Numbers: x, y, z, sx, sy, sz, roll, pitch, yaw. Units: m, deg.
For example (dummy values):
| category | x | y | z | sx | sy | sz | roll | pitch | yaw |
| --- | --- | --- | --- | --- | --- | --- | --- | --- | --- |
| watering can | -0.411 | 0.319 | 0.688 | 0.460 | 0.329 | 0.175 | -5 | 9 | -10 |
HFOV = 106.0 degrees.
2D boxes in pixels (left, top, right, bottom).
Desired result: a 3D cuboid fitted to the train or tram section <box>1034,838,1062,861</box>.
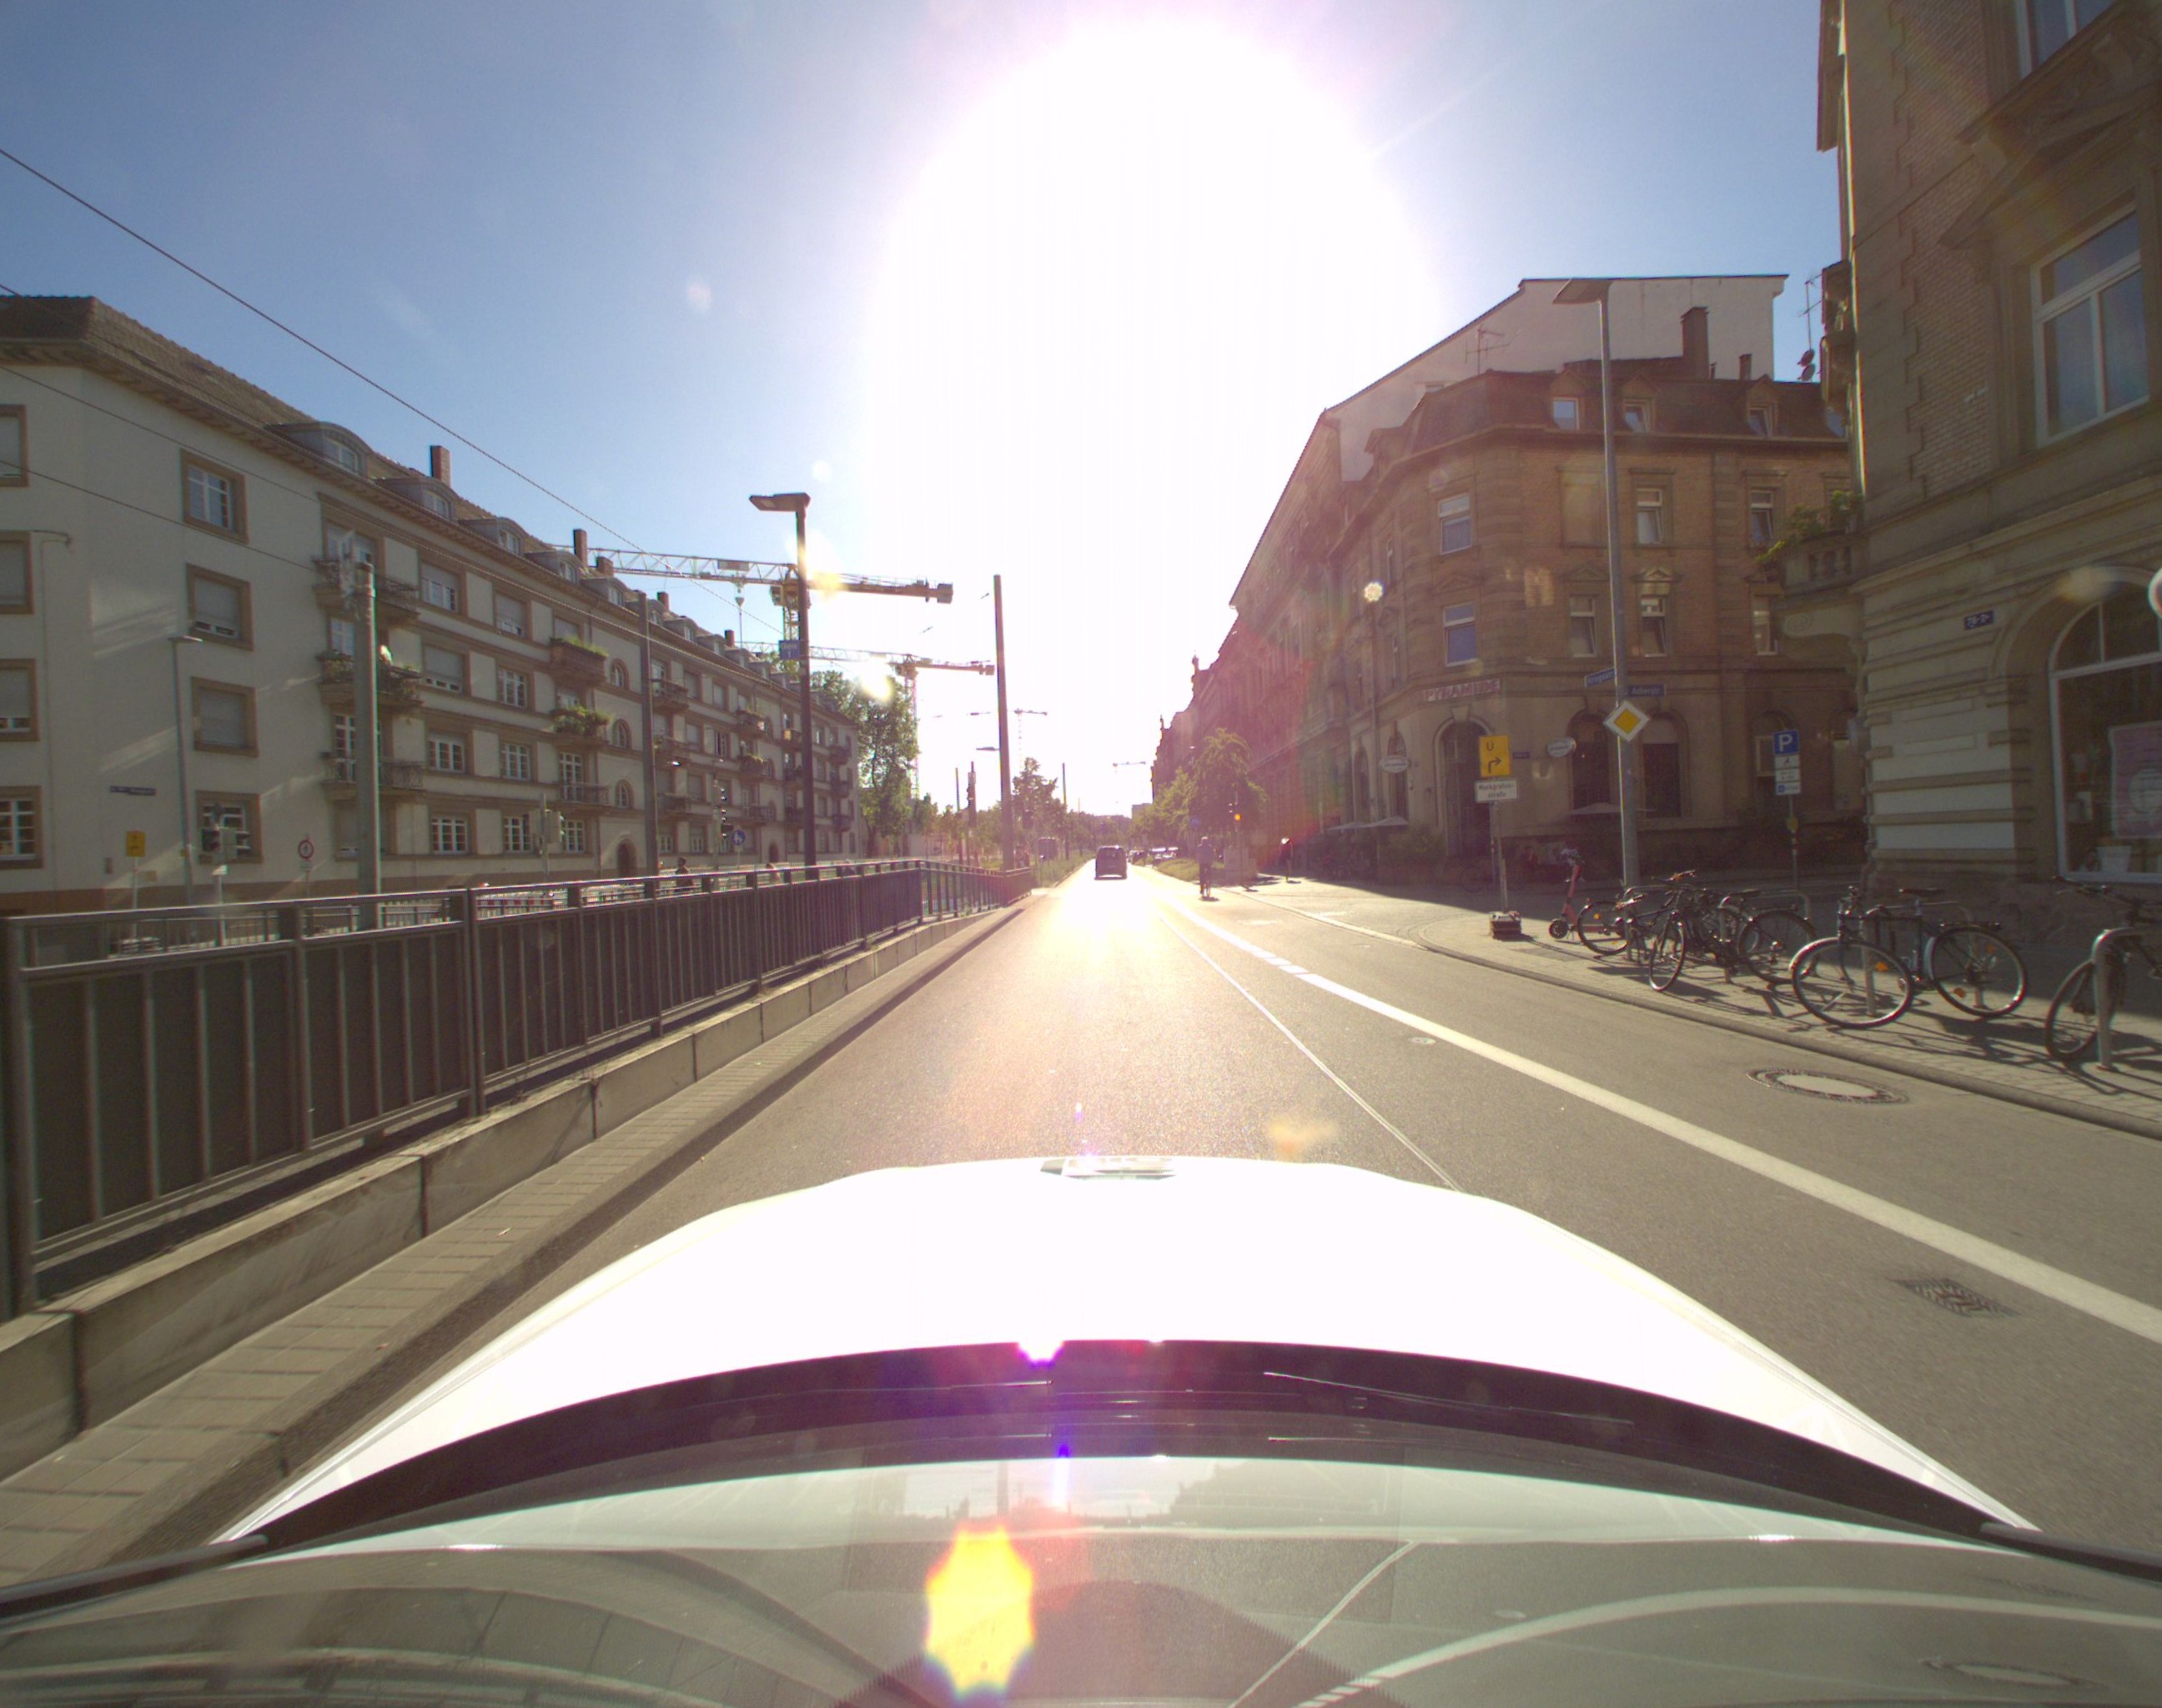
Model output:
| category | x | y | z | sx | sy | sz | roll | pitch | yaw |
| --- | --- | --- | --- | --- | --- | --- | --- | --- | --- |
| train or tram section | -4.230 | -0.546 | 106.428 | 2.745 | 2.742 | 9.871 | -1 | 0 | 3 |

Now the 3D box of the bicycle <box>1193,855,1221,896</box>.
| category | x | y | z | sx | sy | sz | roll | pitch | yaw |
| --- | --- | --- | --- | --- | --- | --- | --- | --- | --- |
| bicycle | 3.871 | 0.642 | 25.138 | 0.599 | 1.181 | 1.869 | -1 | 0 | 1 |

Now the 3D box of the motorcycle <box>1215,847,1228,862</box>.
| category | x | y | z | sx | sy | sz | roll | pitch | yaw |
| --- | --- | --- | --- | --- | --- | --- | --- | --- | --- |
| motorcycle | 11.838 | 0.031 | 68.632 | 0.697 | 1.267 | 1.982 | -3 | 0 | 1 |

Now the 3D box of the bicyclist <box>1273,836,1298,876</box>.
| category | x | y | z | sx | sy | sz | roll | pitch | yaw |
| --- | --- | --- | --- | --- | --- | --- | --- | --- | --- |
| bicyclist | 8.115 | 0.075 | 32.326 | 0.657 | 1.530 | 0.802 | -7 | 0 | 4 |

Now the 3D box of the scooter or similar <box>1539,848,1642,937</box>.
| category | x | y | z | sx | sy | sz | roll | pitch | yaw |
| --- | --- | --- | --- | --- | --- | --- | --- | --- | --- |
| scooter or similar | 7.210 | 0.541 | 11.551 | 1.105 | 1.189 | 0.420 | -3 | 0 | 8 |

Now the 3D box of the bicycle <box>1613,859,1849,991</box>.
| category | x | y | z | sx | sy | sz | roll | pitch | yaw |
| --- | --- | --- | --- | --- | --- | --- | --- | --- | --- |
| bicycle | 6.341 | 0.679 | 8.007 | 1.715 | 1.100 | 0.607 | -5 | 0 | 4 |

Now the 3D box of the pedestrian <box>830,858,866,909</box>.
| category | x | y | z | sx | sy | sz | roll | pitch | yaw |
| --- | --- | --- | --- | --- | --- | --- | --- | --- | --- |
| pedestrian | -7.274 | 0.902 | 25.436 | 0.809 | 1.536 | 0.798 | -2 | 0 | 3 |

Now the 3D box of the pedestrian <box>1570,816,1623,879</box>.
| category | x | y | z | sx | sy | sz | roll | pitch | yaw |
| --- | --- | --- | --- | --- | --- | --- | --- | --- | --- |
| pedestrian | 14.887 | -0.197 | 23.533 | 0.905 | 1.760 | 0.866 | -2 | 0 | -6 |

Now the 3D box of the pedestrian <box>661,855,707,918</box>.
| category | x | y | z | sx | sy | sz | roll | pitch | yaw |
| --- | --- | --- | --- | --- | --- | --- | --- | --- | --- |
| pedestrian | -11.576 | 0.941 | 23.759 | 0.897 | 1.780 | 0.873 | -2 | 0 | 38 |

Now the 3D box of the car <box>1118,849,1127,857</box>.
| category | x | y | z | sx | sy | sz | roll | pitch | yaw |
| --- | --- | --- | --- | --- | --- | --- | --- | --- | --- |
| car | 9.855 | -0.307 | 193.141 | 1.986 | 1.838 | 4.001 | -1 | 0 | 1 |

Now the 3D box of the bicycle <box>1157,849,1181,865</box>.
| category | x | y | z | sx | sy | sz | roll | pitch | yaw |
| --- | --- | --- | --- | --- | --- | --- | --- | --- | --- |
| bicycle | 6.924 | 0.260 | 64.082 | 1.786 | 1.030 | 0.527 | -7 | 0 | 1 |

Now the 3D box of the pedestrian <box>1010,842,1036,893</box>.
| category | x | y | z | sx | sy | sz | roll | pitch | yaw |
| --- | --- | --- | --- | --- | --- | --- | --- | --- | --- |
| pedestrian | -2.077 | 0.477 | 29.145 | 0.863 | 1.788 | 0.969 | -2 | 0 | -5 |

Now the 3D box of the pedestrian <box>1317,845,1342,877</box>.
| category | x | y | z | sx | sy | sz | roll | pitch | yaw |
| --- | --- | --- | --- | --- | --- | --- | --- | --- | --- |
| pedestrian | 9.598 | 0.278 | 31.432 | 0.703 | 1.178 | 0.635 | -4 | 0 | 1 |

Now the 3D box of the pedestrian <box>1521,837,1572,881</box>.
| category | x | y | z | sx | sy | sz | roll | pitch | yaw |
| --- | --- | --- | --- | --- | --- | --- | --- | --- | --- |
| pedestrian | 13.321 | 0.147 | 23.329 | 0.848 | 1.214 | 0.932 | -2 | 0 | -6 |

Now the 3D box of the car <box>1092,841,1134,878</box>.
| category | x | y | z | sx | sy | sz | roll | pitch | yaw |
| --- | --- | --- | --- | --- | --- | --- | --- | --- | --- |
| car | 1.792 | 0.294 | 46.969 | 2.192 | 1.926 | 4.655 | -3 | 0 | 1 |

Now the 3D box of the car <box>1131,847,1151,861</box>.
| category | x | y | z | sx | sy | sz | roll | pitch | yaw |
| --- | --- | --- | --- | --- | --- | --- | --- | --- | --- |
| car | 6.746 | -0.028 | 91.902 | 2.021 | 1.499 | 4.655 | -3 | 0 | 1 |

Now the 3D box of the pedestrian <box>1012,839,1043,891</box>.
| category | x | y | z | sx | sy | sz | roll | pitch | yaw |
| --- | --- | --- | --- | --- | --- | --- | --- | --- | --- |
| pedestrian | -2.035 | 0.396 | 30.946 | 1.074 | 1.908 | 0.652 | -3 | 0 | -6 |

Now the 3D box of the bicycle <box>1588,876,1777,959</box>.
| category | x | y | z | sx | sy | sz | roll | pitch | yaw |
| --- | --- | --- | --- | --- | --- | --- | --- | --- | --- |
| bicycle | 6.957 | 0.731 | 9.478 | 1.661 | 0.821 | 0.608 | -4 | 0 | 7 |

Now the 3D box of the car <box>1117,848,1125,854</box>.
| category | x | y | z | sx | sy | sz | roll | pitch | yaw |
| --- | --- | --- | --- | --- | --- | --- | --- | --- | --- |
| car | 10.998 | -0.725 | 223.050 | 2.021 | 1.499 | 4.332 | -3 | 0 | 1 |

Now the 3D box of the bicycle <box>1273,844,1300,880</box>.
| category | x | y | z | sx | sy | sz | roll | pitch | yaw |
| --- | --- | --- | --- | --- | --- | --- | --- | --- | --- |
| bicycle | 8.162 | 0.282 | 32.388 | 0.612 | 1.330 | 1.902 | -7 | 0 | 4 |

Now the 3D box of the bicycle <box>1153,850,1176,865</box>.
| category | x | y | z | sx | sy | sz | roll | pitch | yaw |
| --- | --- | --- | --- | --- | --- | --- | --- | --- | --- |
| bicycle | 7.036 | 0.286 | 68.467 | 1.786 | 1.030 | 0.527 | -7 | 0 | 1 |

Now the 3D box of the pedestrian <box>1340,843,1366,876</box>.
| category | x | y | z | sx | sy | sz | roll | pitch | yaw |
| --- | --- | --- | --- | --- | --- | --- | --- | --- | --- |
| pedestrian | 10.488 | 0.215 | 31.429 | 0.703 | 1.236 | 0.635 | -4 | 0 | 1 |

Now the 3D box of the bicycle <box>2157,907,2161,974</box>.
| category | x | y | z | sx | sy | sz | roll | pitch | yaw |
| --- | --- | --- | --- | --- | --- | --- | --- | --- | --- |
| bicycle | 6.403 | 0.718 | 3.766 | 1.994 | 1.092 | 0.845 | -5 | 0 | -9 |

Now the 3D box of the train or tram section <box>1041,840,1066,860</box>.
| category | x | y | z | sx | sy | sz | roll | pitch | yaw |
| --- | --- | --- | --- | --- | --- | --- | --- | --- | --- |
| train or tram section | -3.839 | -0.492 | 116.273 | 2.745 | 2.742 | 9.871 | -1 | 0 | 3 |

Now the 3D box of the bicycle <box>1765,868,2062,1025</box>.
| category | x | y | z | sx | sy | sz | roll | pitch | yaw |
| --- | --- | --- | --- | --- | --- | --- | --- | --- | --- |
| bicycle | 6.528 | 0.707 | 6.449 | 1.592 | 1.045 | 0.607 | -5 | 0 | 4 |

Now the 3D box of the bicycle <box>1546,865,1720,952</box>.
| category | x | y | z | sx | sy | sz | roll | pitch | yaw |
| --- | --- | --- | --- | --- | --- | --- | --- | --- | --- |
| bicycle | 6.832 | 0.670 | 10.146 | 1.661 | 0.944 | 0.608 | -3 | 0 | 8 |

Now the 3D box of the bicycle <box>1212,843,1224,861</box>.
| category | x | y | z | sx | sy | sz | roll | pitch | yaw |
| --- | --- | --- | --- | --- | --- | --- | --- | --- | --- |
| bicycle | 9.943 | -0.163 | 59.120 | 0.581 | 1.222 | 1.900 | -2 | 0 | 1 |

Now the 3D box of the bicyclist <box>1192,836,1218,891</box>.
| category | x | y | z | sx | sy | sz | roll | pitch | yaw |
| --- | --- | --- | --- | --- | --- | --- | --- | --- | --- |
| bicyclist | 3.829 | 0.293 | 25.229 | 0.682 | 1.673 | 0.922 | -1 | 0 | 0 |

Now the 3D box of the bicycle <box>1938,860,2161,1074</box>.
| category | x | y | z | sx | sy | sz | roll | pitch | yaw |
| --- | --- | --- | --- | --- | --- | --- | --- | --- | --- |
| bicycle | 6.829 | 0.648 | 5.133 | 1.987 | 1.128 | 0.710 | -5 | 0 | 2 |

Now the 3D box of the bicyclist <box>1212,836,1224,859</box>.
| category | x | y | z | sx | sy | sz | roll | pitch | yaw |
| --- | --- | --- | --- | --- | --- | --- | --- | --- | --- |
| bicyclist | 9.903 | -0.452 | 59.084 | 0.664 | 1.639 | 0.961 | -3 | 0 | 1 |

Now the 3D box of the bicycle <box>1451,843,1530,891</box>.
| category | x | y | z | sx | sy | sz | roll | pitch | yaw |
| --- | --- | --- | --- | --- | --- | --- | --- | --- | --- |
| bicycle | 11.195 | 0.349 | 22.316 | 1.809 | 1.171 | 0.655 | -3 | 4 | 5 |

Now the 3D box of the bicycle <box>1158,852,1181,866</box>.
| category | x | y | z | sx | sy | sz | roll | pitch | yaw |
| --- | --- | --- | --- | --- | --- | --- | --- | --- | --- |
| bicycle | 7.293 | 0.413 | 67.182 | 1.786 | 1.030 | 0.527 | -3 | 0 | 1 |

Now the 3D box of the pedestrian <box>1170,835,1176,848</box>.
| category | x | y | z | sx | sy | sz | roll | pitch | yaw |
| --- | --- | --- | --- | --- | --- | --- | --- | --- | --- |
| pedestrian | 11.468 | -1.580 | 101.610 | 0.611 | 1.611 | 0.669 | -3 | 0 | 1 |

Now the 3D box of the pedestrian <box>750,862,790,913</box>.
| category | x | y | z | sx | sy | sz | roll | pitch | yaw |
| --- | --- | --- | --- | --- | --- | --- | --- | --- | --- |
| pedestrian | -9.734 | 1.044 | 25.535 | 0.862 | 1.536 | 0.909 | -2 | 0 | 1 |
